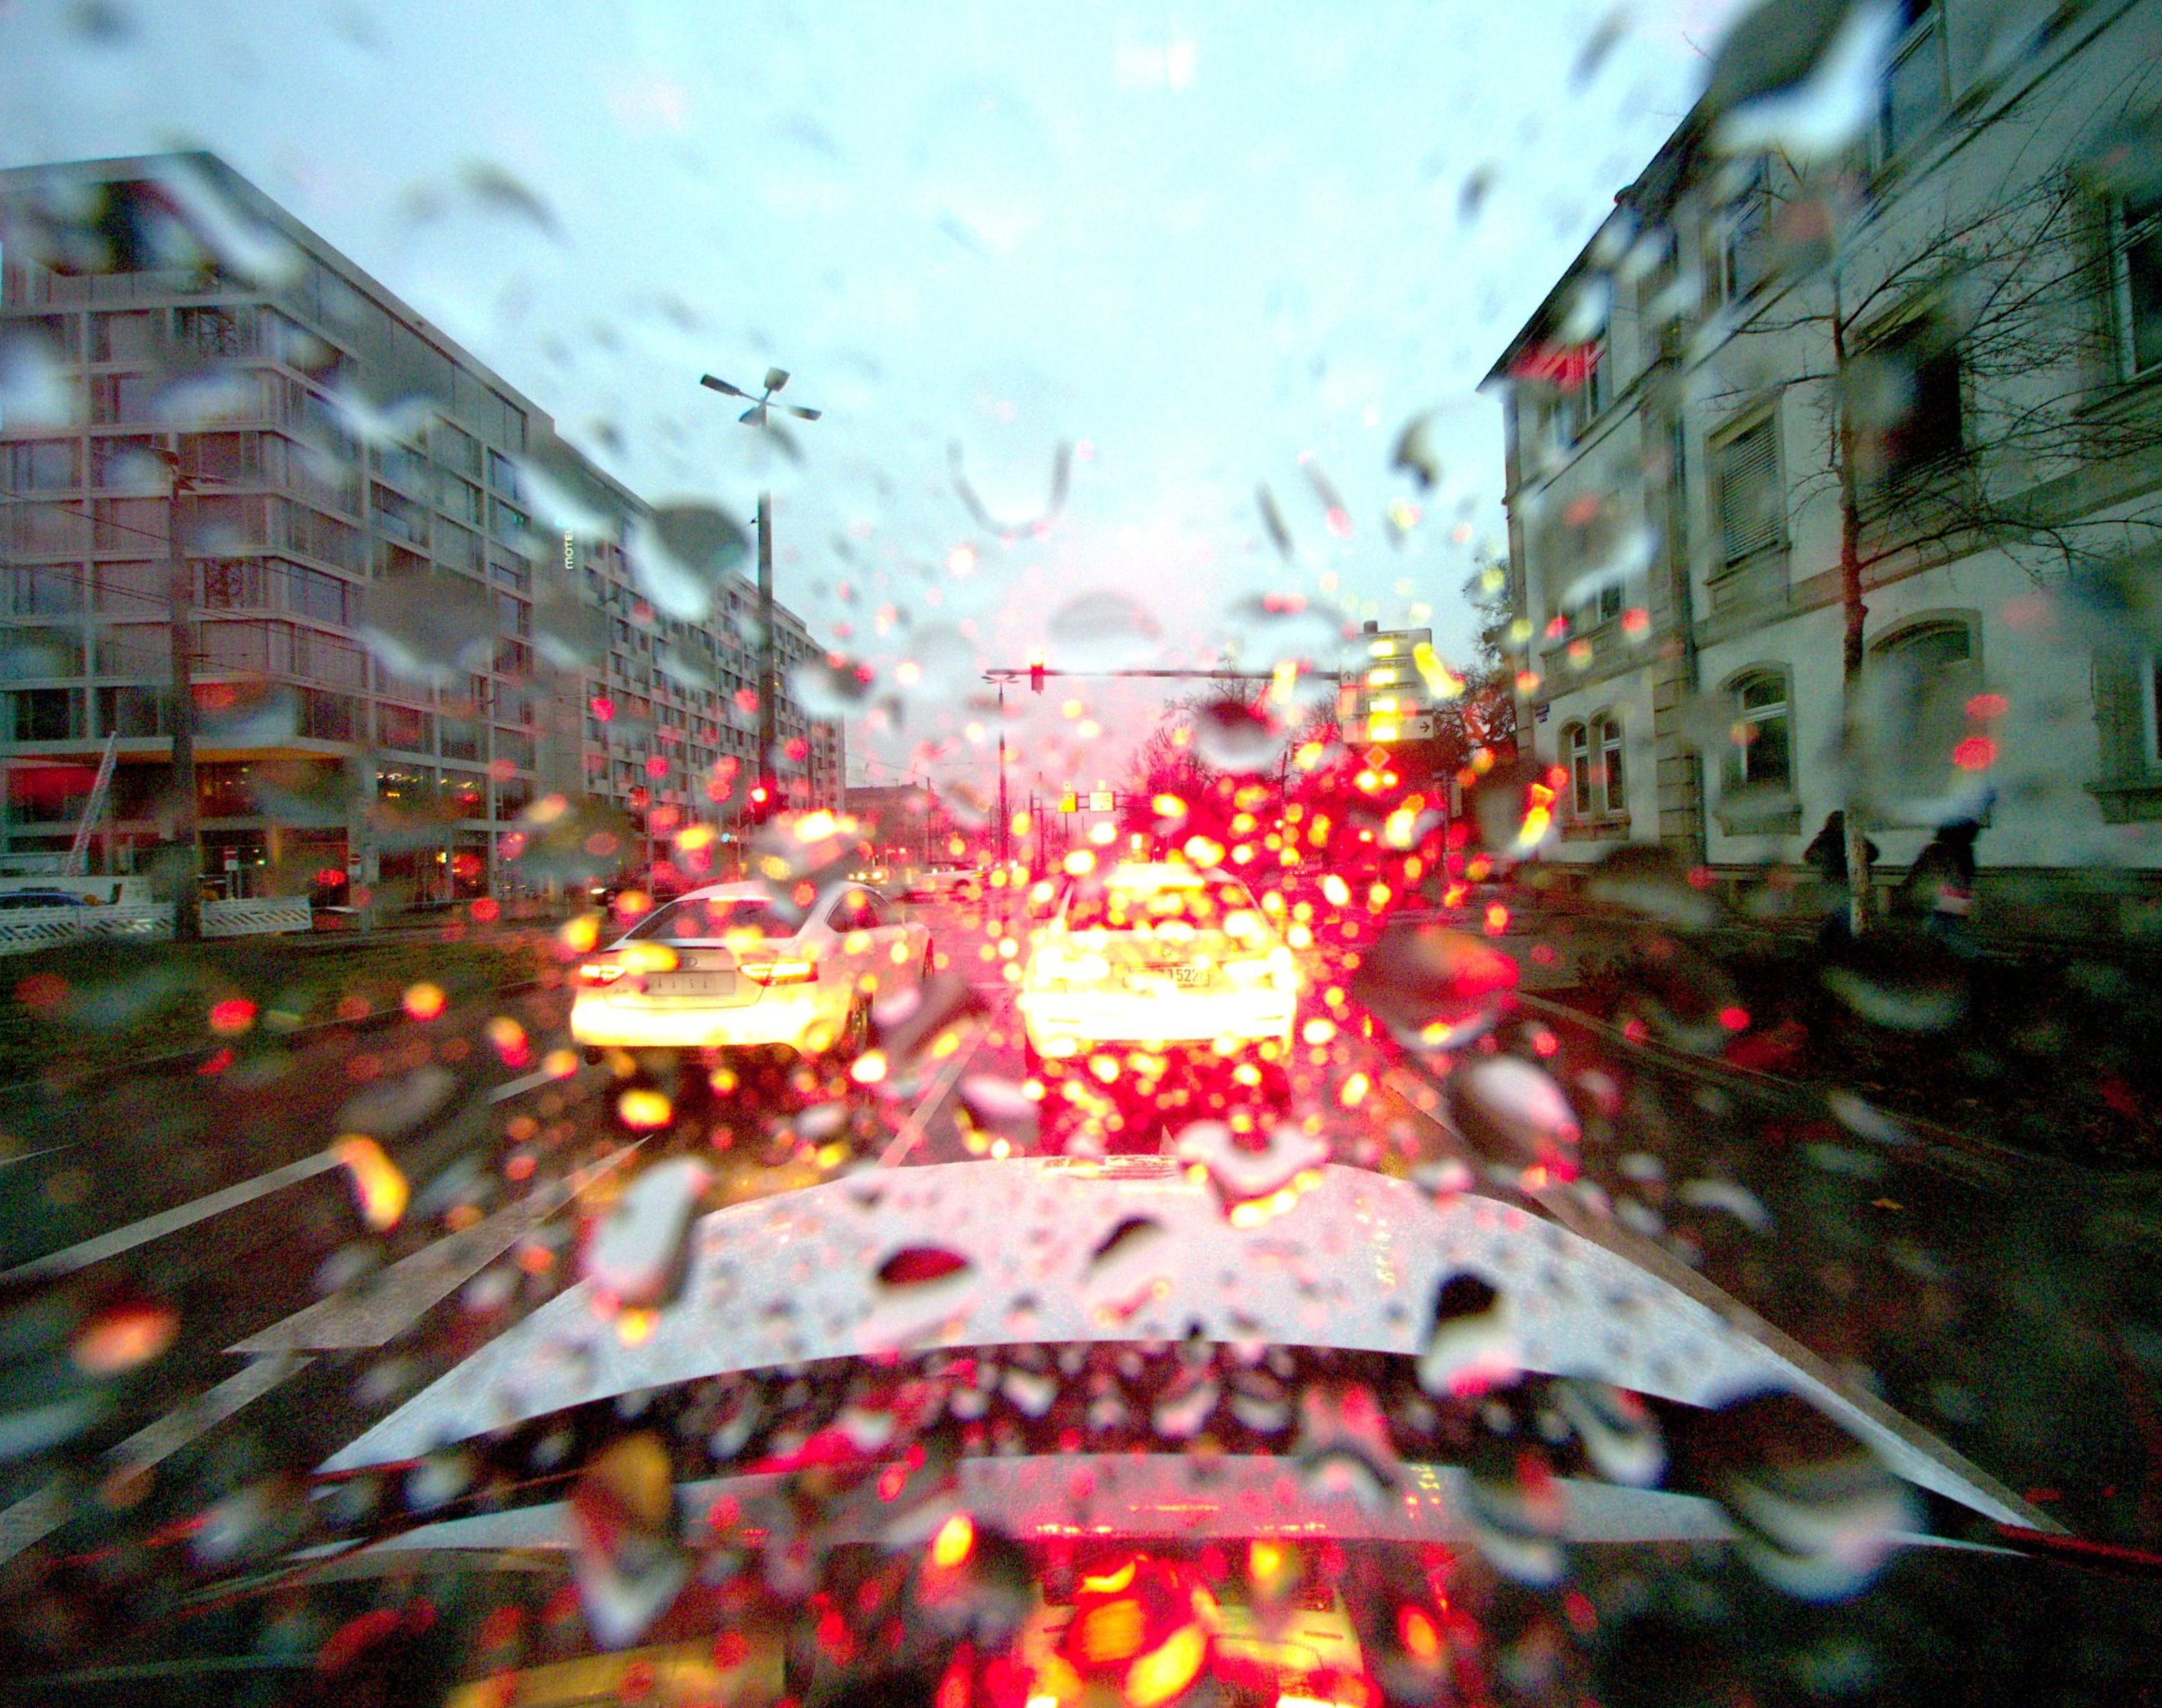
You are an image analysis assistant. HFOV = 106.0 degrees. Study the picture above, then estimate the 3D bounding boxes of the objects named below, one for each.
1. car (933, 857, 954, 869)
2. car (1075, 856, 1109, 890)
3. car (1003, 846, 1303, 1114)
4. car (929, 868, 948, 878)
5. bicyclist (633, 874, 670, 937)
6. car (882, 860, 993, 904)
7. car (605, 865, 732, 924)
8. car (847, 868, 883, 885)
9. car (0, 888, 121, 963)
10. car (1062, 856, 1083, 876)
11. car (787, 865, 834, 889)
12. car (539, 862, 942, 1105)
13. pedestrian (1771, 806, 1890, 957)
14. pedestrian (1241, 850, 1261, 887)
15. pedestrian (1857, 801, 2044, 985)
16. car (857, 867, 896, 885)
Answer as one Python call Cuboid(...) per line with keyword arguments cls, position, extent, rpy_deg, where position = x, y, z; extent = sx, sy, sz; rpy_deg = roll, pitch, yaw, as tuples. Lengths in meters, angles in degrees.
Cuboid(cls="car", position=(-17.777, 1.176, 105.247), extent=(1.988, 1.462, 5.090), rpy_deg=(0, 0, -2))
Cuboid(cls="car", position=(0.728, 1.150, 50.903), extent=(1.986, 2.014, 4.001), rpy_deg=(0, -1, 2))
Cuboid(cls="car", position=(0.417, 0.754, 6.912), extent=(1.754, 1.552, 4.250), rpy_deg=(0, -1, 0))
Cuboid(cls="car", position=(-21.499, 2.826, 122.757), extent=(1.987, 1.462, 5.094), rpy_deg=(0, 0, 0))
Cuboid(cls="bicyclist", position=(-20.176, 2.386, 38.277), extent=(1.352, 2.828, 1.185), rpy_deg=(0, -1, -19))
Cuboid(cls="car", position=(-5.790, 1.118, 33.150), extent=(4.053, 1.687, 1.961), rpy_deg=(0, -1, 3))
Cuboid(cls="car", position=(-15.867, 1.523, 31.582), extent=(4.079, 2.123, 1.948), rpy_deg=(0, -1, -16))
Cuboid(cls="car", position=(-20.829, 2.132, 78.625), extent=(1.986, 1.462, 5.097), rpy_deg=(0, 0, 2))
Cuboid(cls="car", position=(-26.467, 1.729, 19.511), extent=(1.935, 1.687, 4.107), rpy_deg=(-1, -1, 25))
Cuboid(cls="car", position=(-0.896, 1.284, 84.969), extent=(1.986, 2.014, 4.001), rpy_deg=(0, -1, 2))
Cuboid(cls="car", position=(-21.599, 1.836, 65.197), extent=(1.873, 1.789, 4.603), rpy_deg=(0, -1, 4))
Cuboid(cls="car", position=(-2.459, 0.818, 7.152), extent=(1.754, 1.470, 4.250), rpy_deg=(0, -1, 0))
Cuboid(cls="pedestrian", position=(8.662, 0.302, 9.418), extent=(1.015, 1.632, 0.776), rpy_deg=(0, -1, -33))
Cuboid(cls="pedestrian", position=(8.672, 0.754, 41.612), extent=(0.716, 1.879, 0.669), rpy_deg=(0, -1, -27))
Cuboid(cls="pedestrian", position=(8.022, 0.342, 7.578), extent=(0.775, 1.579, 1.016), rpy_deg=(-1, -1, 17))
Cuboid(cls="car", position=(-17.926, 1.886, 71.628), extent=(1.986, 1.462, 5.097), rpy_deg=(0, 0, 2))
